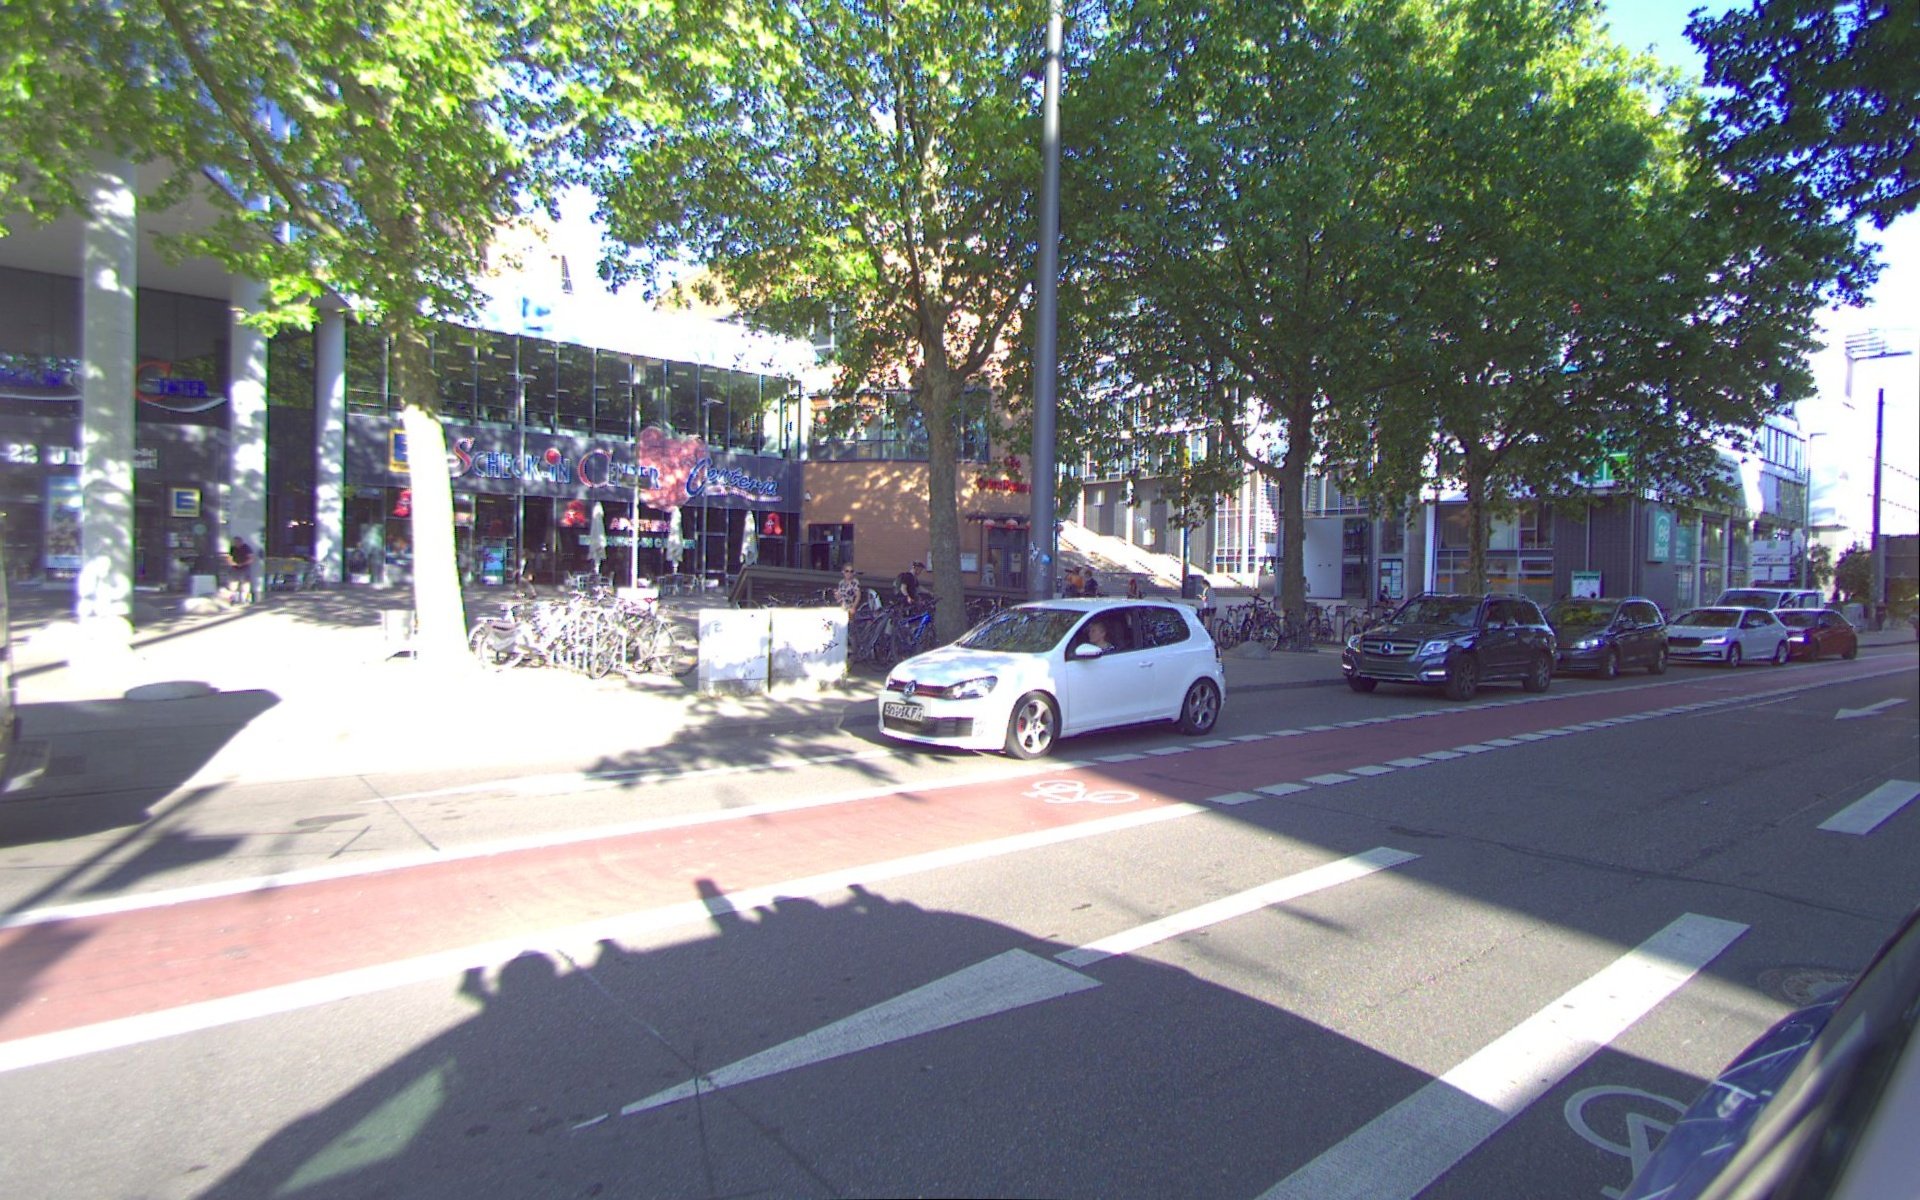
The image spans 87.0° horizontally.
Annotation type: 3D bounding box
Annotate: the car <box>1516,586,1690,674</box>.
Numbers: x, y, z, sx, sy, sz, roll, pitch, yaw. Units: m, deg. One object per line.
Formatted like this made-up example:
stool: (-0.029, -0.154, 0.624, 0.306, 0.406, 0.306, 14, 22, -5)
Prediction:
car: (13.493, 0.557, 21.158, 4.309, 1.656, 1.710, 0, 0, -38)

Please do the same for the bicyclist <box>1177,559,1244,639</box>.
bicyclist: (6.570, -0.043, 26.616, 1.132, 2.039, 1.301, 0, 1, -24)

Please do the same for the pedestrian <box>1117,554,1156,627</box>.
pedestrian: (5.545, -0.307, 31.841, 0.884, 2.261, 0.845, 0, 0, -19)

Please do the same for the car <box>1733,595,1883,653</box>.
car: (23.595, 0.644, 28.146, 4.110, 1.508, 1.839, 0, -1, -29)

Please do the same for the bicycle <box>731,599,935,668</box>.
bicycle: (-2.028, 0.500, 16.727, 3.352, 1.014, 1.050, -1, 0, -41)

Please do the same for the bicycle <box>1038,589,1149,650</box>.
bicycle: (2.526, 0.334, 18.972, 2.295, 1.073, 0.682, -1, 1, -39)

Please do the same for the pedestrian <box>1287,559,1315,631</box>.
pedestrian: (12.882, -0.197, 38.264, 0.967, 2.681, 0.897, 0, 0, 18)

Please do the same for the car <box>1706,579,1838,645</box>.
car: (26.440, 0.350, 32.873, 5.808, 1.989, 1.934, 0, 0, -37)

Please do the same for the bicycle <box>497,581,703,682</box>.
bicycle: (-4.838, 0.375, 13.707, 2.504, 1.236, 0.758, -2, 1, -35)

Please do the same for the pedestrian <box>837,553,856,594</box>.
pedestrian: (-4.974, -1.142, 44.223, 0.635, 1.765, 0.665, 1, 1, 10)

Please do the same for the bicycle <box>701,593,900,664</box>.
bicycle: (-2.707, 0.448, 17.577, 3.352, 1.013, 1.051, -1, 6, -41)

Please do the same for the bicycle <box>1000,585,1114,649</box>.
bicycle: (1.918, 0.297, 19.730, 2.355, 1.177, 0.751, -1, 0, -39)

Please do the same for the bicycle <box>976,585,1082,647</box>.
bicycle: (1.411, 0.292, 20.362, 2.263, 1.177, 0.671, -1, 0, -38)

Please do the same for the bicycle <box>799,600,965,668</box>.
bicycle: (-1.203, 0.501, 16.057, 2.591, 0.960, 0.924, -1, 0, -41)

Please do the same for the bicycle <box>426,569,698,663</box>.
bicycle: (-5.961, 0.286, 15.427, 3.743, 1.236, 0.729, 4, -2, -35)

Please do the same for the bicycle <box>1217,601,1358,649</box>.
bicycle: (7.596, 0.556, 23.467, 3.136, 1.038, 0.979, 0, 0, -18)

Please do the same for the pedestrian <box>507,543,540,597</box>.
pedestrian: (-14.578, -1.007, 33.811, 0.823, 1.765, 0.645, 0, 1, -41)

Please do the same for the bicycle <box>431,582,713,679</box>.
bicycle: (-5.523, 0.380, 14.694, 3.744, 1.236, 0.758, -2, 1, -35)

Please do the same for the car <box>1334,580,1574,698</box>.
car: (7.993, 0.542, 16.249, 4.171, 1.656, 1.770, 0, 0, -37)

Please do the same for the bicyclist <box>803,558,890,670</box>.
bicyclist: (-1.750, 0.197, 15.582, 1.005, 1.641, 0.902, 0, 0, -41)

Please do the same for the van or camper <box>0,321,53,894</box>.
van or camper: (-7.349, 0.014, 3.381, 6.386, 2.647, 2.003, 0, 1, -42)

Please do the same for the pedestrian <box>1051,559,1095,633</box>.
pedestrian: (3.547, -0.141, 31.854, 1.195, 2.276, 1.052, 0, 0, -3)

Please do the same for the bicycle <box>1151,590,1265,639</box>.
bicycle: (6.484, 0.349, 26.757, 1.124, 1.097, 3.342, 0, 2, -23)

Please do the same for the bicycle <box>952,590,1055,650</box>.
bicycle: (0.926, 0.382, 20.921, 2.251, 1.177, 0.657, -1, 0, -38)

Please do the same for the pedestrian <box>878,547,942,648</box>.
pedestrian: (-1.037, -0.070, 21.121, 0.922, 2.039, 1.085, 2, 1, 24)

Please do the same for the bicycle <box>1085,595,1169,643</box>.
bicycle: (4.496, 0.483, 27.115, 2.653, 1.215, 0.698, -1, 1, -41)

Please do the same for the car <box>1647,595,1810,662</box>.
car: (19.014, 0.645, 25.004, 4.112, 1.508, 1.838, 0, 0, -31)

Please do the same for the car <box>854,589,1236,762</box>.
car: (0.989, 0.628, 10.398, 3.916, 1.446, 1.638, 0, 0, -40)
